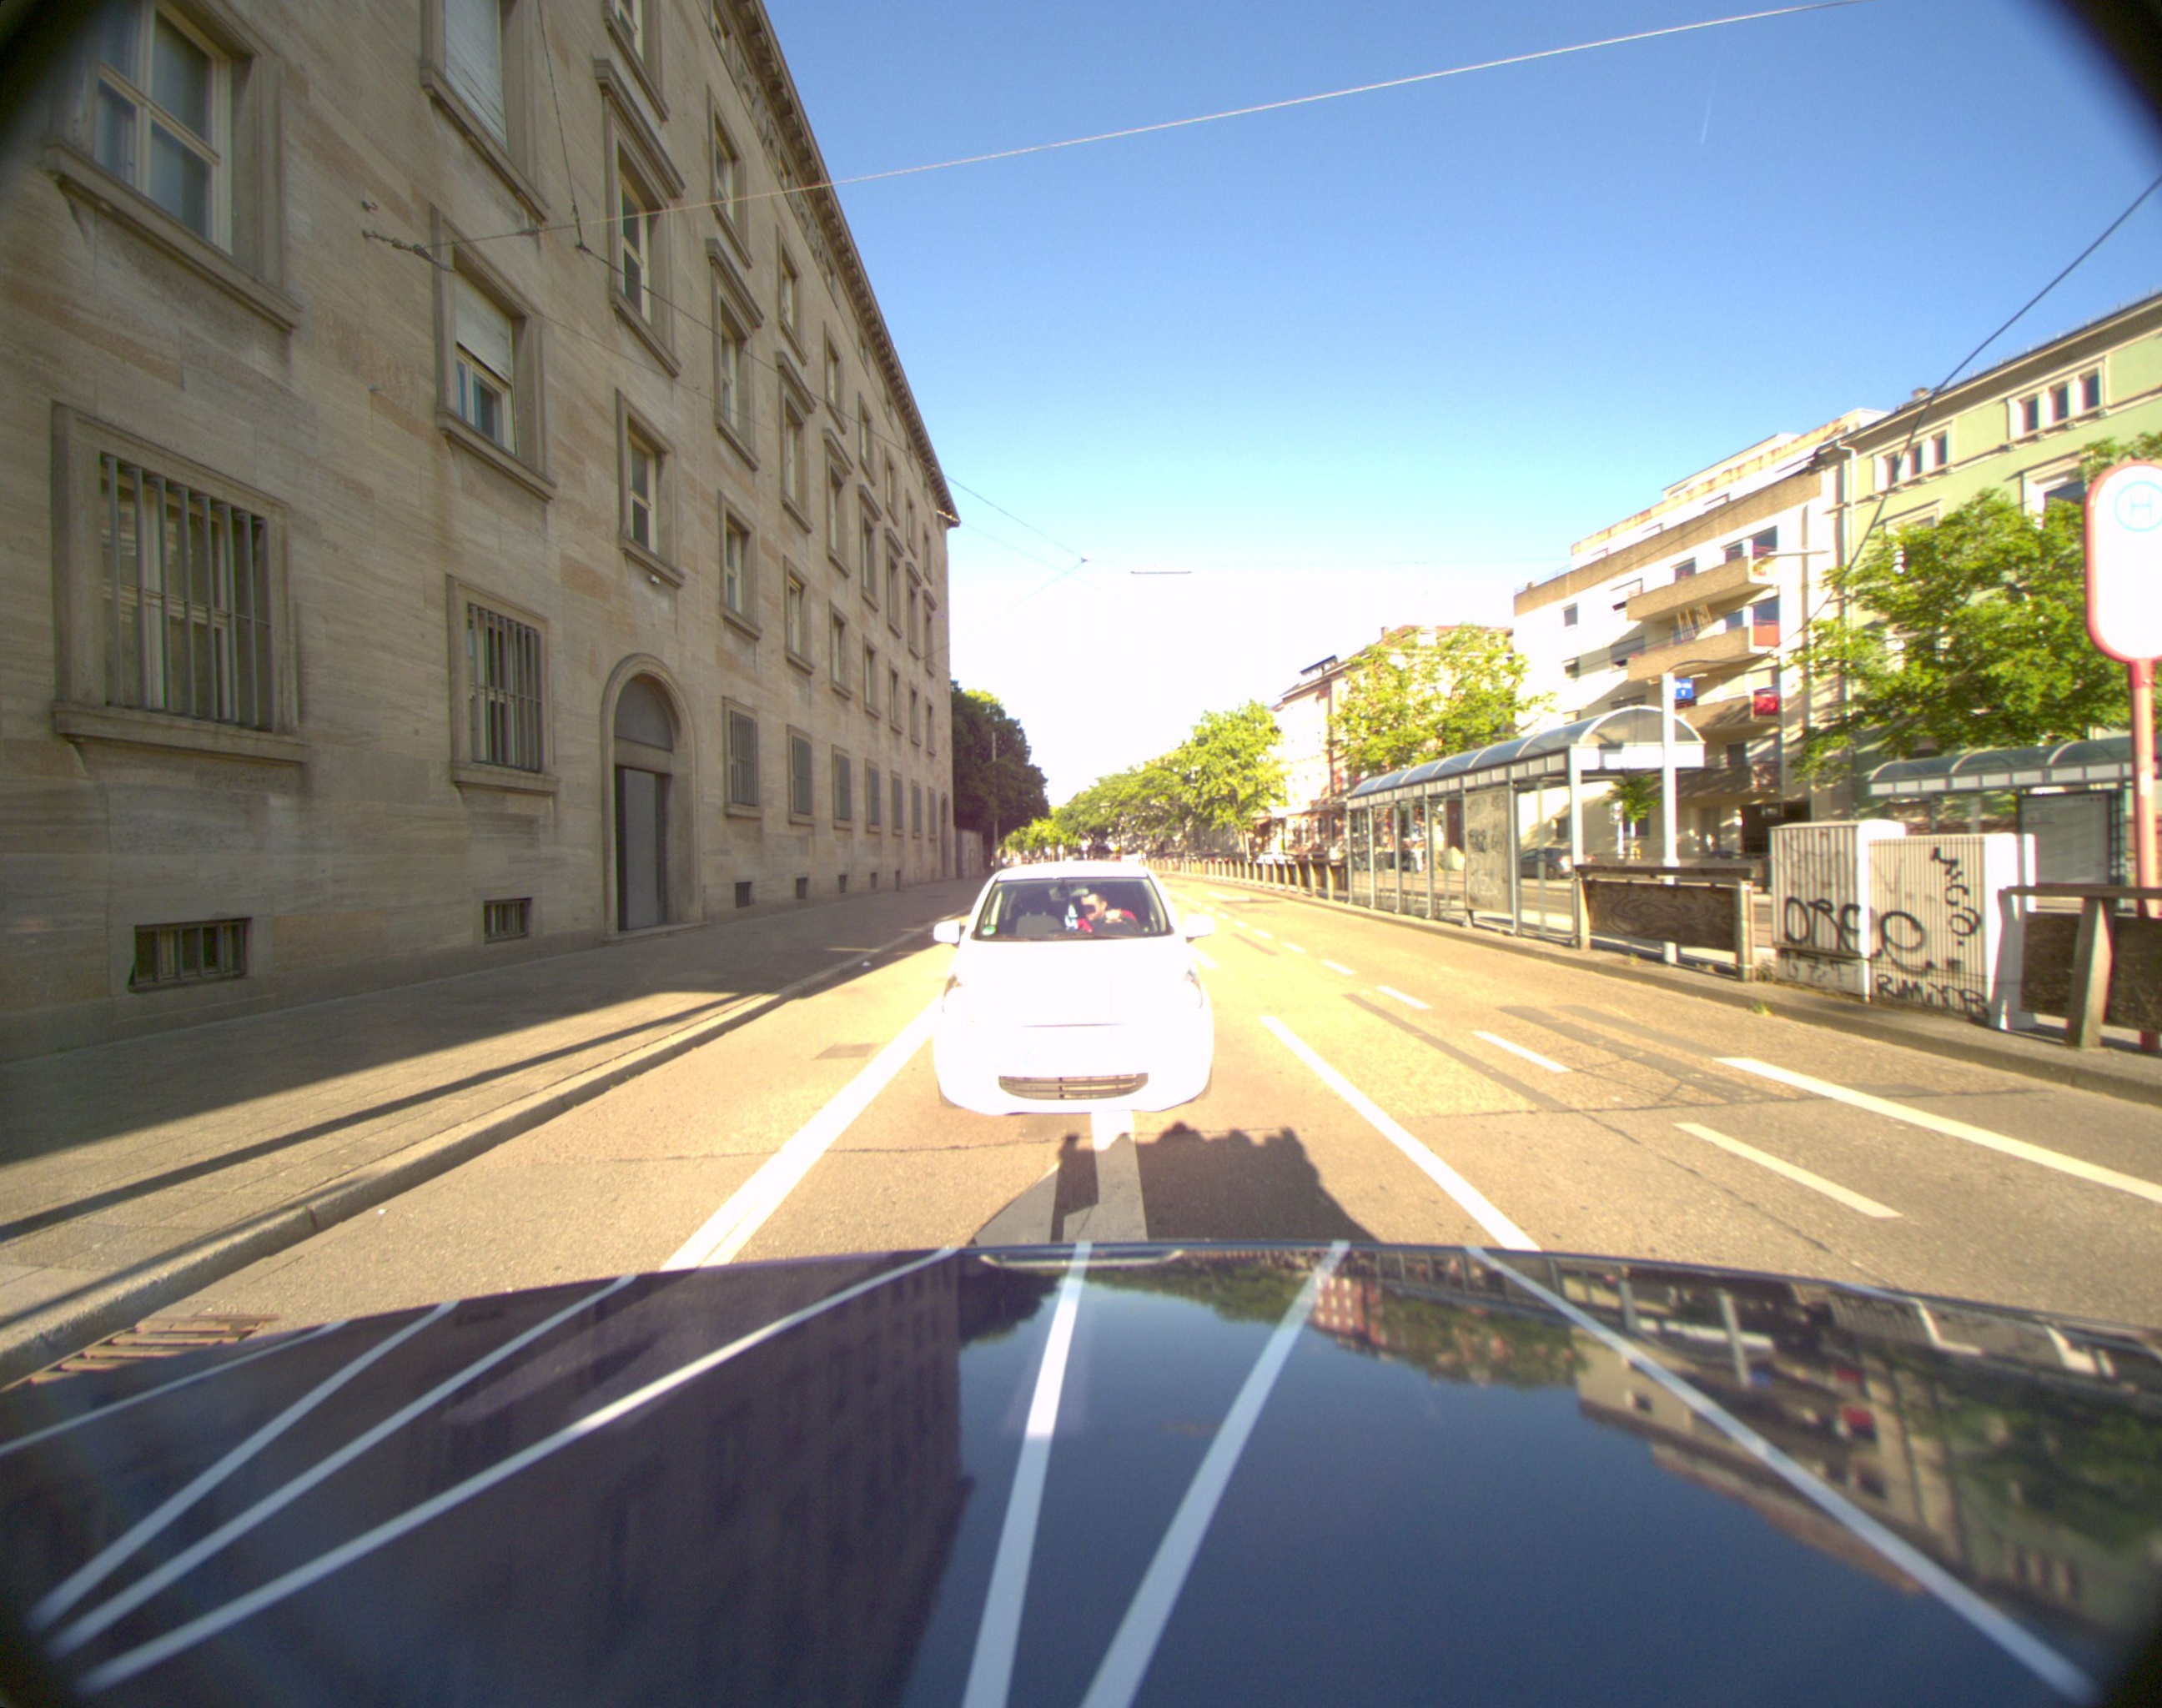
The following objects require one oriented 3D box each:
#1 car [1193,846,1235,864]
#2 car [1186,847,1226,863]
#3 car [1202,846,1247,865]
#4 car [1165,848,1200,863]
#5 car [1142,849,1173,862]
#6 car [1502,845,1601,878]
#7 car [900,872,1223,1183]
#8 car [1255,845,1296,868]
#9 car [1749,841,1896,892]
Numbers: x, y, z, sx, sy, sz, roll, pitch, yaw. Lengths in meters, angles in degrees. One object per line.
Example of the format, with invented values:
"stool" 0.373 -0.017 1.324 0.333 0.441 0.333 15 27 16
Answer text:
"car" 13.365 0.118 76.734 3.996 1.674 2.000 -1 0 4
"car" 13.172 0.090 80.537 3.996 1.674 2.000 -1 0 4
"car" 13.650 0.133 72.600 3.996 1.674 2.000 -1 0 4
"car" 11.452 0.149 86.097 3.864 1.583 2.001 -1 0 5
"car" 9.581 0.135 95.724 3.864 1.583 2.001 -1 0 4
"car" 20.854 0.320 33.841 1.615 1.387 3.516 -1 0 -19
"car" -0.074 0.926 5.680 1.612 1.450 3.667 -1 0 1
"car" 16.317 0.168 63.685 1.994 1.713 4.007 0 2 34
"car" 23.942 0.374 24.557 3.796 1.526 1.772 -1 0 -17
